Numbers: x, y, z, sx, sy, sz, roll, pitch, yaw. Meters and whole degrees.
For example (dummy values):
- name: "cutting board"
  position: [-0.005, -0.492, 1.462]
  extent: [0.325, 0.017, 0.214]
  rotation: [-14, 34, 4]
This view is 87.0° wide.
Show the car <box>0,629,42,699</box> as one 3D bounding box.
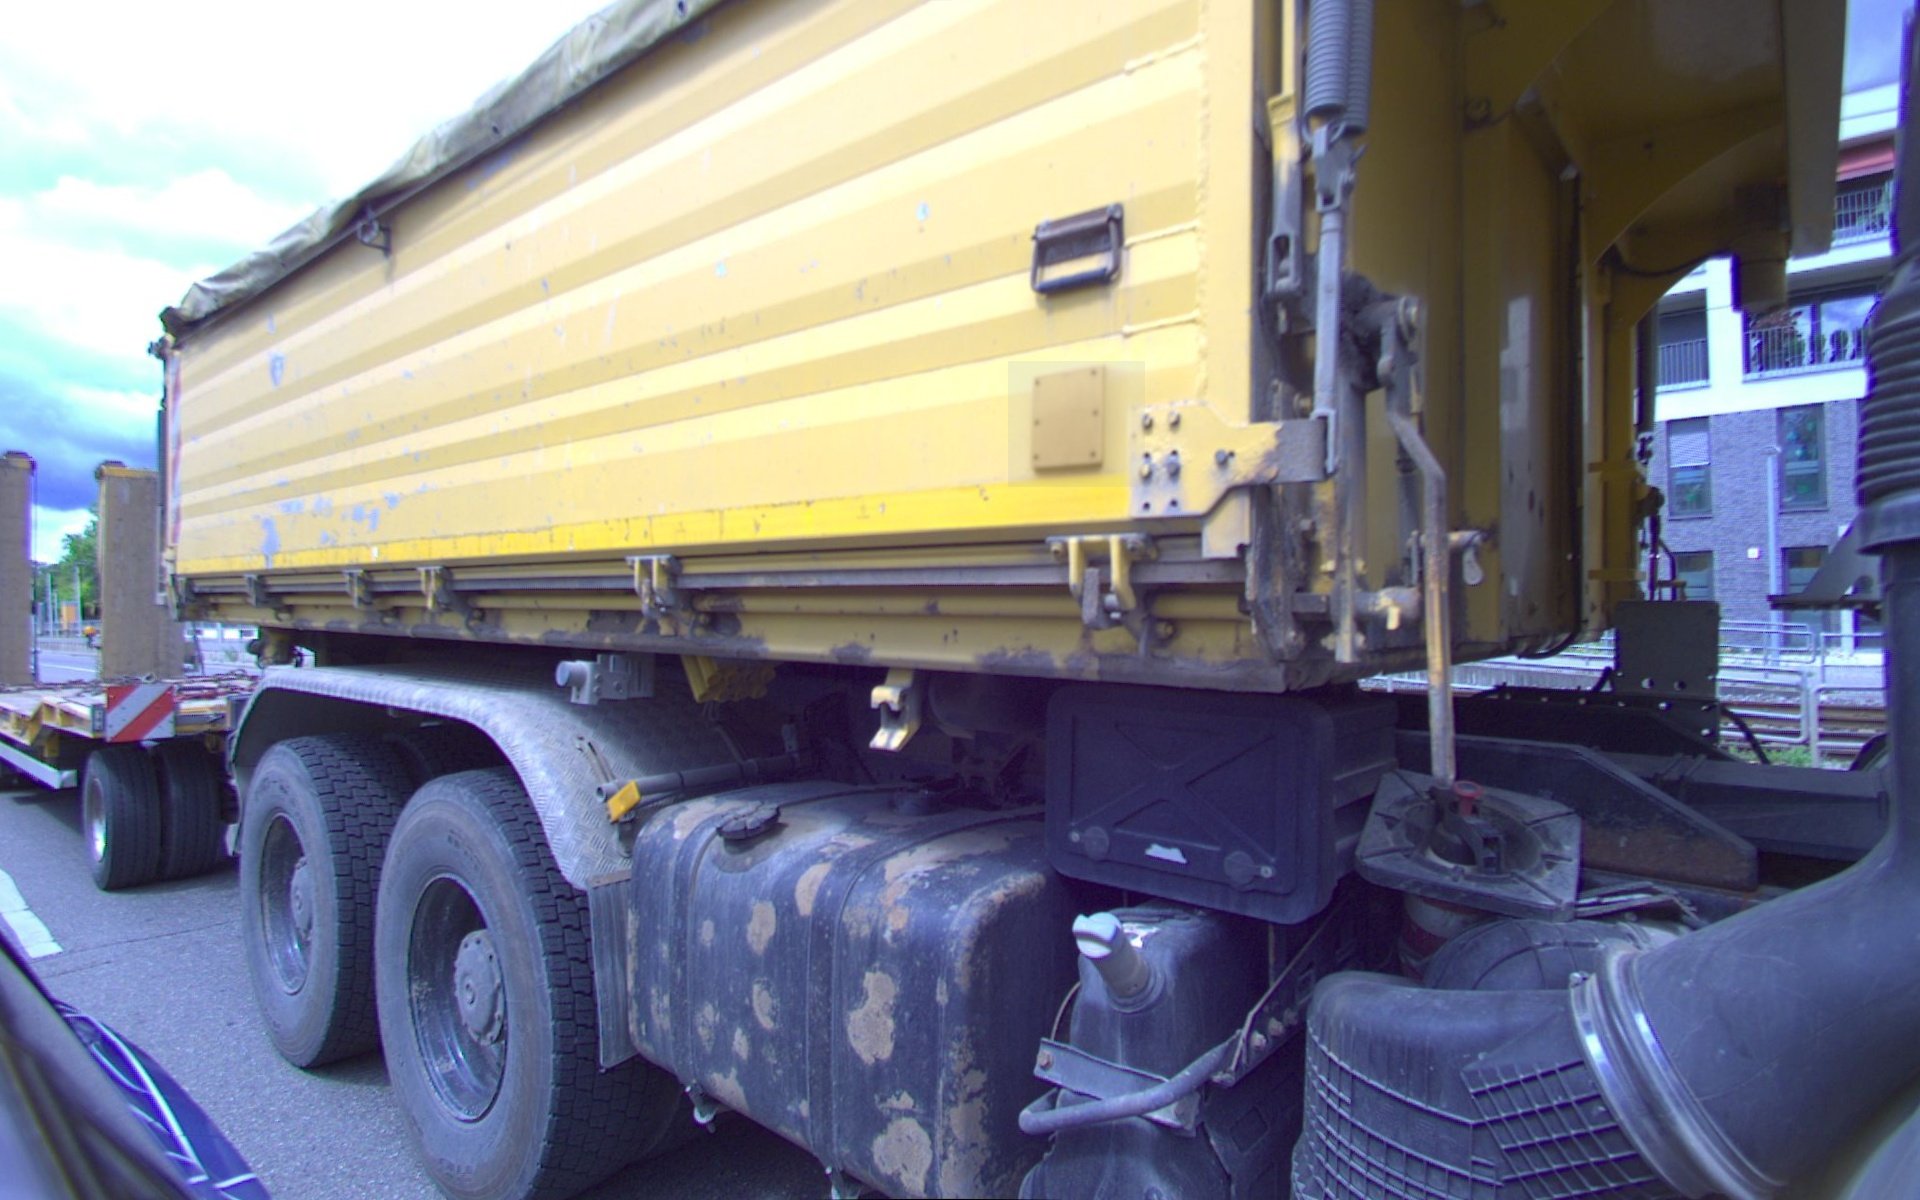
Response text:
- name: "car"
  position: [-21.338, 1.365, 21.910]
  extent: [3.784, 1.427, 1.761]
  rotation: [-2, -1, 41]

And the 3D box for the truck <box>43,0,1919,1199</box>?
- name: "truck"
  position: [0.141, -0.226, 2.872]
  extent: [7.999, 3.420, 3.019]
  rotation: [-2, -1, 40]

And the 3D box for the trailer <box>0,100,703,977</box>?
- name: "trailer"
  position: [-6.848, -0.142, 9.006]
  extent: [10.957, 3.726, 3.018]
  rotation: [-2, -1, 40]
